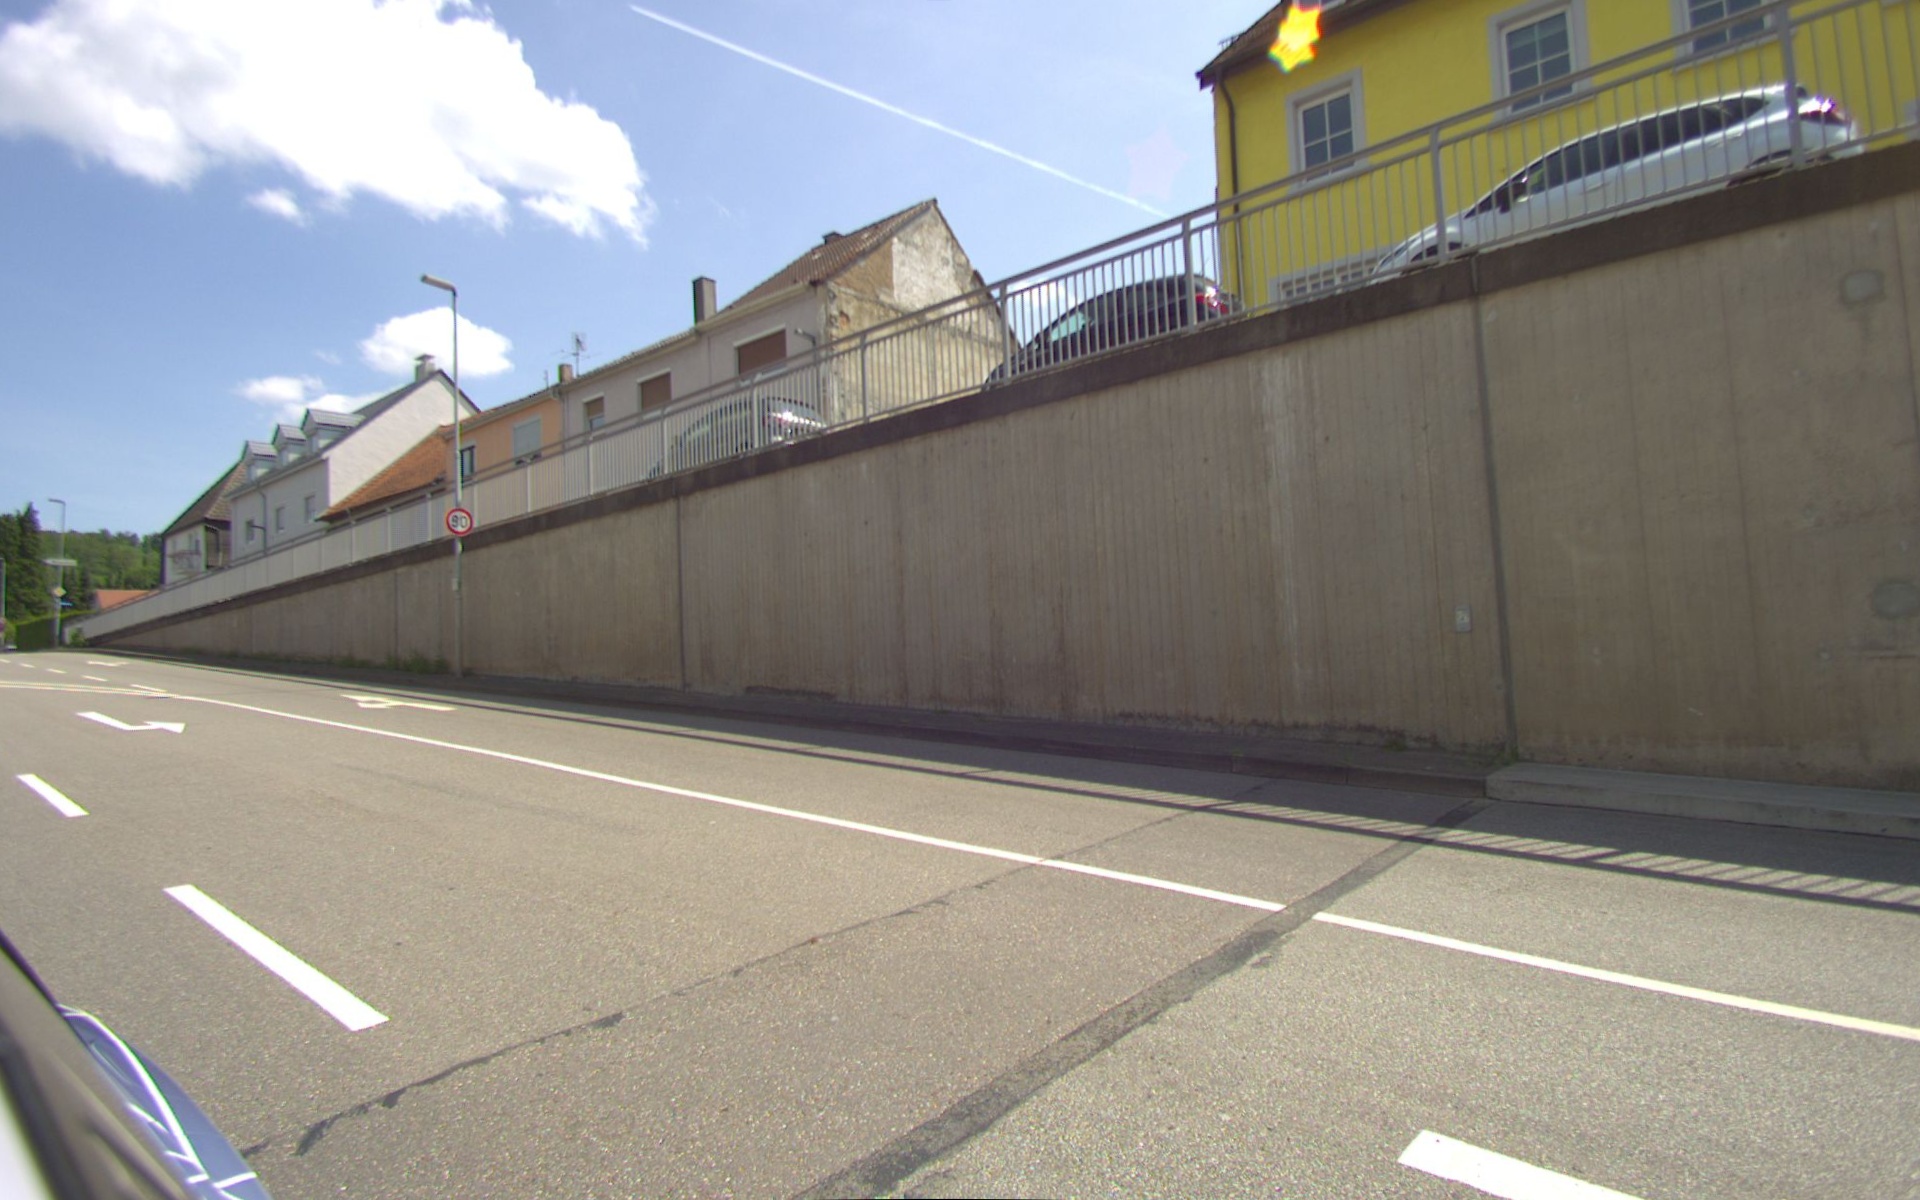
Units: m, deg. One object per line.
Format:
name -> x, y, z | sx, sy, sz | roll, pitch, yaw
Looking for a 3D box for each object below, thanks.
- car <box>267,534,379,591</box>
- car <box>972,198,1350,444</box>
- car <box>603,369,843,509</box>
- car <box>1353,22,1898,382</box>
car -> -20.700, -1.161, 32.829 | 4.388, 1.416, 1.768 | -4, -3, 39
car -> 2.375, -3.231, 12.604 | 4.218, 1.718, 1.804 | -4, -3, 39
car -> -4.249, -2.689, 17.778 | 4.388, 1.536, 1.781 | -4, -3, 39
car -> 6.162, -3.481, 9.747 | 3.996, 1.681, 1.883 | -4, -3, 39
